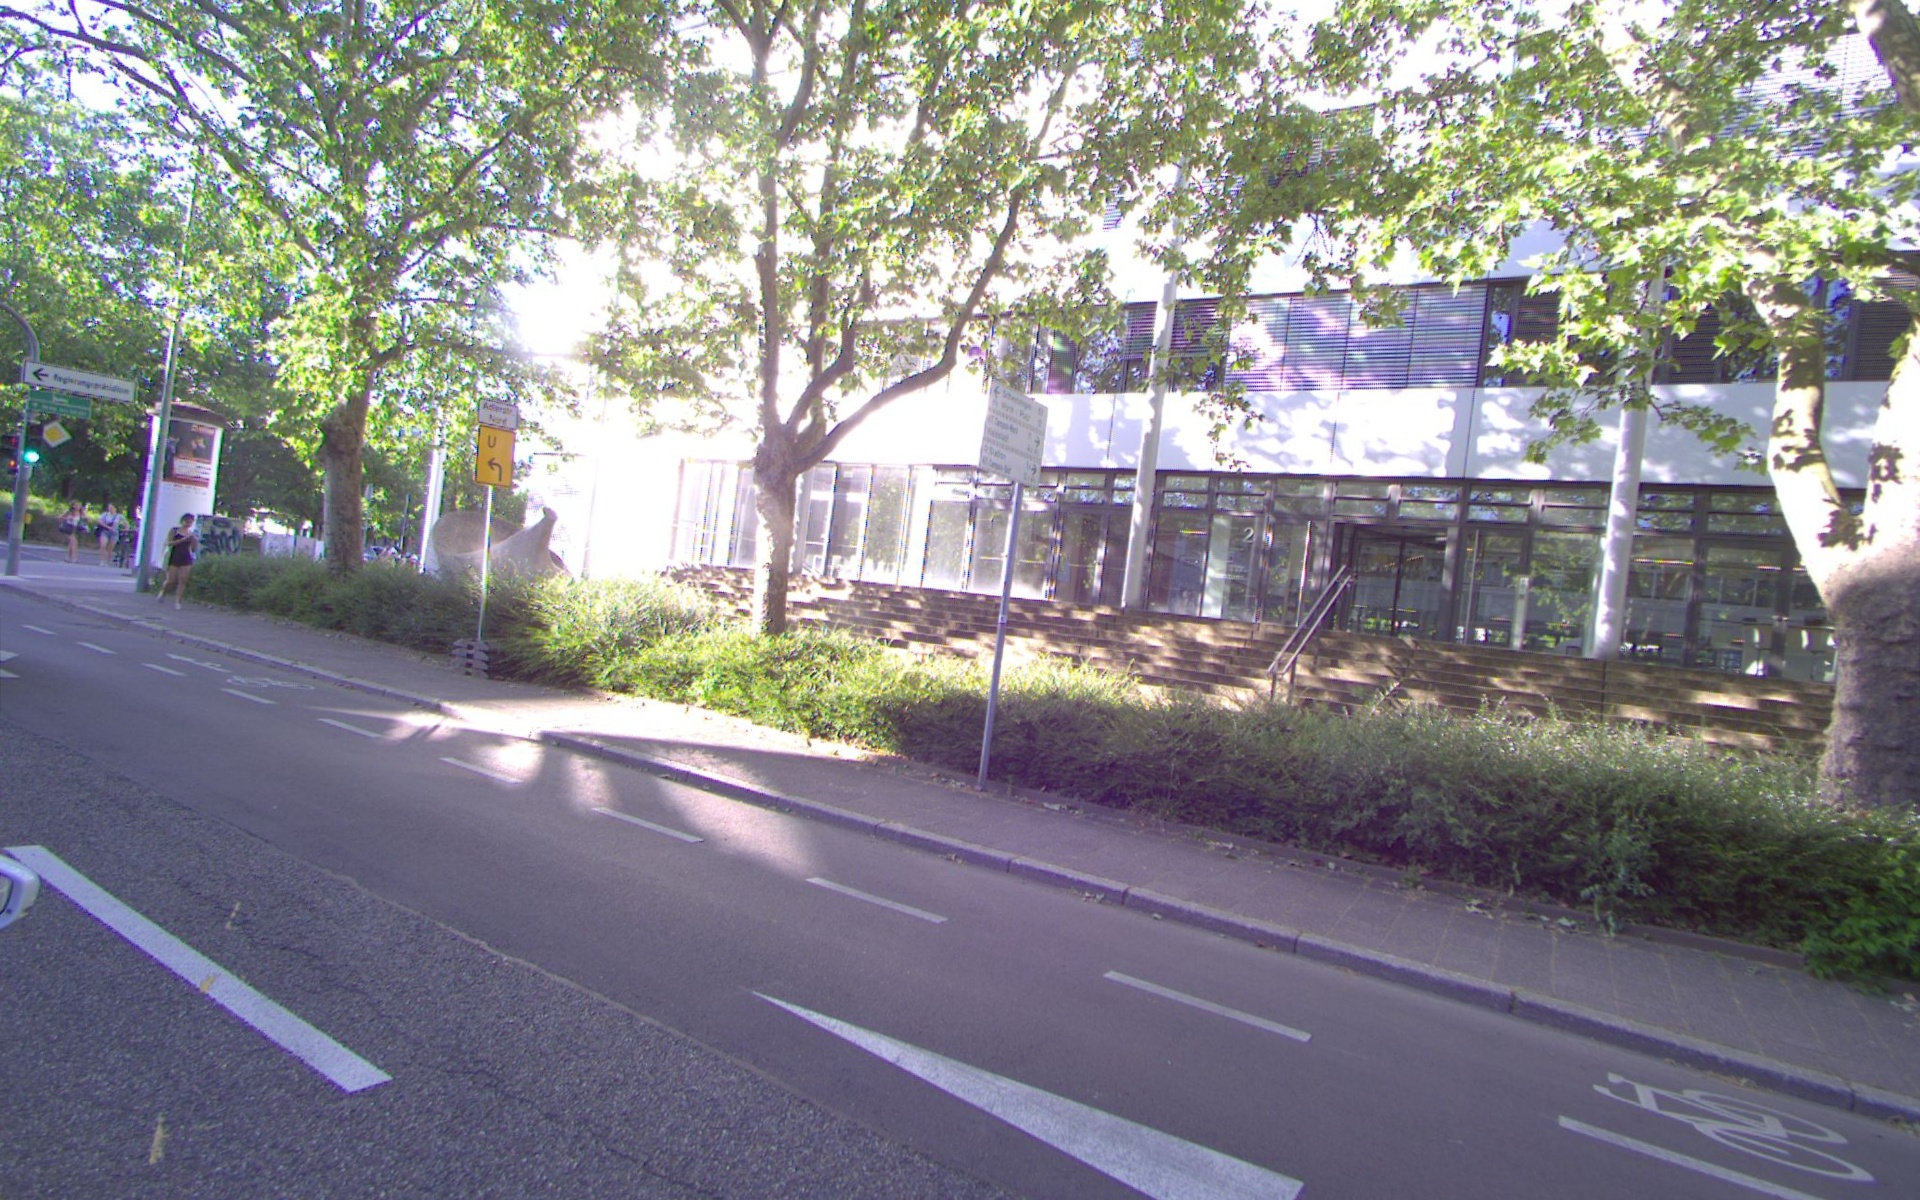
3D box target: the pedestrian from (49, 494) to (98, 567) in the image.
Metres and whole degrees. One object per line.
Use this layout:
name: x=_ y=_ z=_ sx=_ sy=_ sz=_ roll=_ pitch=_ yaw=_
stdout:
pedestrian: x=-23.845 y=-1.869 z=27.065 sx=0.896 sy=1.830 sz=0.731 roll=5 pitch=0 yaw=39

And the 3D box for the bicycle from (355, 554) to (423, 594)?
bicycle: x=-23.655 y=-1.047 z=41.730 sx=0.649 sy=1.341 sz=2.293 roll=6 pitch=-2 yaw=32

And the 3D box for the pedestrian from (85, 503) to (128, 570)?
pedestrian: x=-23.391 y=-1.744 z=27.554 sx=0.681 sy=1.717 sz=0.959 roll=8 pitch=-1 yaw=-44

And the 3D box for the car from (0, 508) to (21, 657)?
car: x=-8.995 y=-0.209 z=7.463 sx=1.829 sy=1.445 sz=4.484 roll=8 pitch=-2 yaw=-30

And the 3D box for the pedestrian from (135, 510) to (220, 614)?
pedestrian: x=-13.335 y=-0.644 z=17.152 sx=0.893 sy=1.651 sz=0.798 roll=6 pitch=0 yaw=33

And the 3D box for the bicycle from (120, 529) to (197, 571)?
bicycle: x=-29.601 y=-1.820 z=37.191 sx=0.589 sy=1.234 sz=2.035 roll=6 pitch=-2 yaw=31

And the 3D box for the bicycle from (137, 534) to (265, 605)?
bicycle: x=-15.746 y=-0.607 z=20.937 sx=0.519 sy=1.203 sz=1.980 roll=6 pitch=-2 yaw=30

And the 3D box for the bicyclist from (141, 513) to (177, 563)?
bicyclist: x=-29.576 y=-2.273 z=37.147 sx=0.664 sy=1.717 sz=0.711 roll=6 pitch=-1 yaw=32

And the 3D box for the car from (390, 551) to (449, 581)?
car: x=-35.383 y=-2.245 z=65.848 sx=3.732 sy=1.500 sz=1.633 roll=6 pitch=-2 yaw=31

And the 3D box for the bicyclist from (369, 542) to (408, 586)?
bicyclist: x=-23.674 y=-1.500 z=41.658 sx=0.856 sy=1.634 sz=0.965 roll=6 pitch=-1 yaw=34

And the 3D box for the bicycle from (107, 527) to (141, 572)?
bicycle: x=-23.195 y=-1.413 z=27.894 sx=0.523 sy=1.113 sz=1.720 roll=8 pitch=-2 yaw=-43
